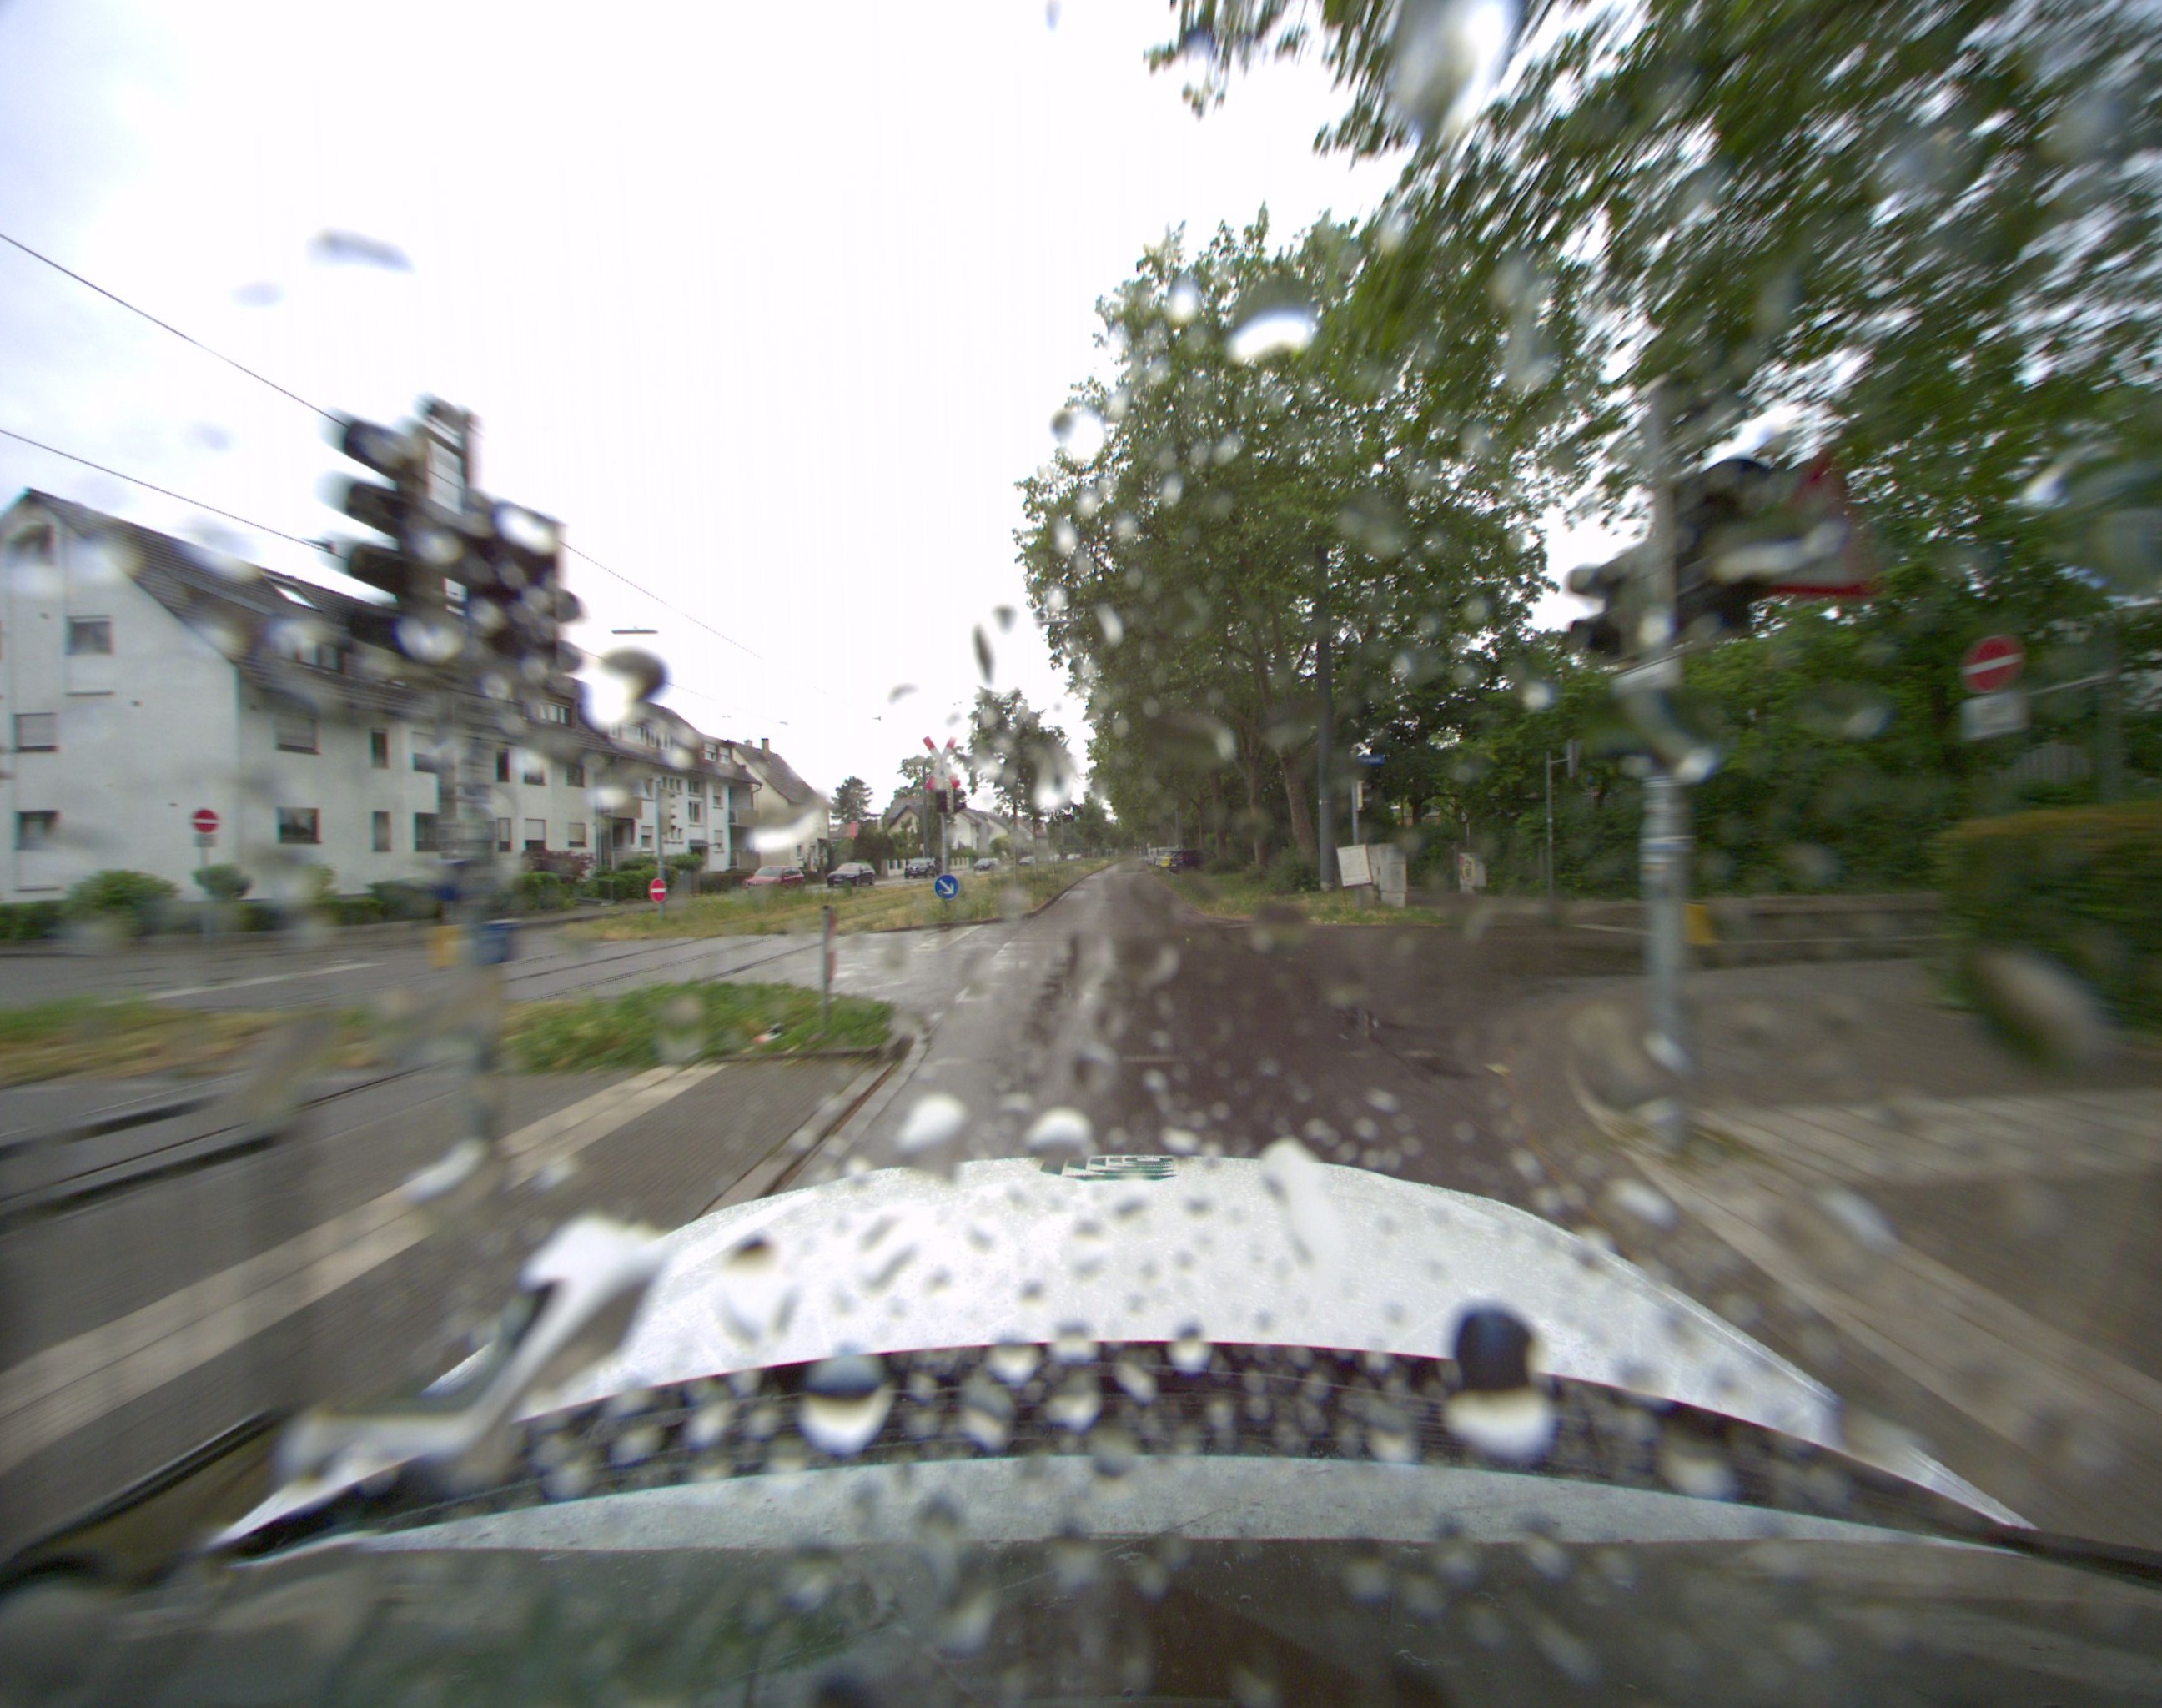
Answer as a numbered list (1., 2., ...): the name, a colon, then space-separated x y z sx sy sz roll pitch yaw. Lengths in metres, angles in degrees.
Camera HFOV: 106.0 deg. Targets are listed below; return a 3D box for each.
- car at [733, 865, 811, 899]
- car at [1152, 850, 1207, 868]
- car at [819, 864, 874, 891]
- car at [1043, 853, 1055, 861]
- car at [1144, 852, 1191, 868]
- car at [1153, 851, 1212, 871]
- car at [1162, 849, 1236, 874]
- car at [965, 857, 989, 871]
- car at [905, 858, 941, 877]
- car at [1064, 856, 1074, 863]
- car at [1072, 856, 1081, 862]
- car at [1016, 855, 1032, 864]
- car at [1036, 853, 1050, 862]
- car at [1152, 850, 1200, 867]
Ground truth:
1. car: -14.710 1.314 38.989 1.920 1.486 4.004 -1 -1 4
2. car: 8.076 0.411 66.945 3.992 1.453 1.991 -1 -1 -14
3. car: -14.172 1.398 49.456 1.920 1.486 4.004 -1 -1 4
4. car: -6.336 0.635 162.042 1.920 1.486 4.004 -1 -1 4
5. car: 8.189 0.575 77.489 3.992 1.453 1.991 -1 -1 -14
6. car: 7.568 0.518 60.956 3.992 1.453 1.991 -1 -1 -14
7. car: 7.129 0.459 49.243 3.992 1.453 1.991 -1 -1 -14
8. car: -11.882 1.155 93.372 1.920 1.486 4.004 -1 -1 4
9. car: -12.922 1.116 66.775 1.920 1.486 4.004 -1 -1 4
10. car: -2.837 1.244 191.946 1.920 1.486 4.004 -1 -1 4
11. car: -1.109 1.302 205.901 1.920 1.486 4.004 -1 -1 4
12. car: -8.850 0.864 127.763 1.920 1.486 4.004 -1 -1 4
13. car: -6.997 0.622 149.969 1.920 1.486 4.004 -1 -1 4
14. car: 8.781 0.388 75.151 3.992 1.453 1.991 -1 -1 -14
